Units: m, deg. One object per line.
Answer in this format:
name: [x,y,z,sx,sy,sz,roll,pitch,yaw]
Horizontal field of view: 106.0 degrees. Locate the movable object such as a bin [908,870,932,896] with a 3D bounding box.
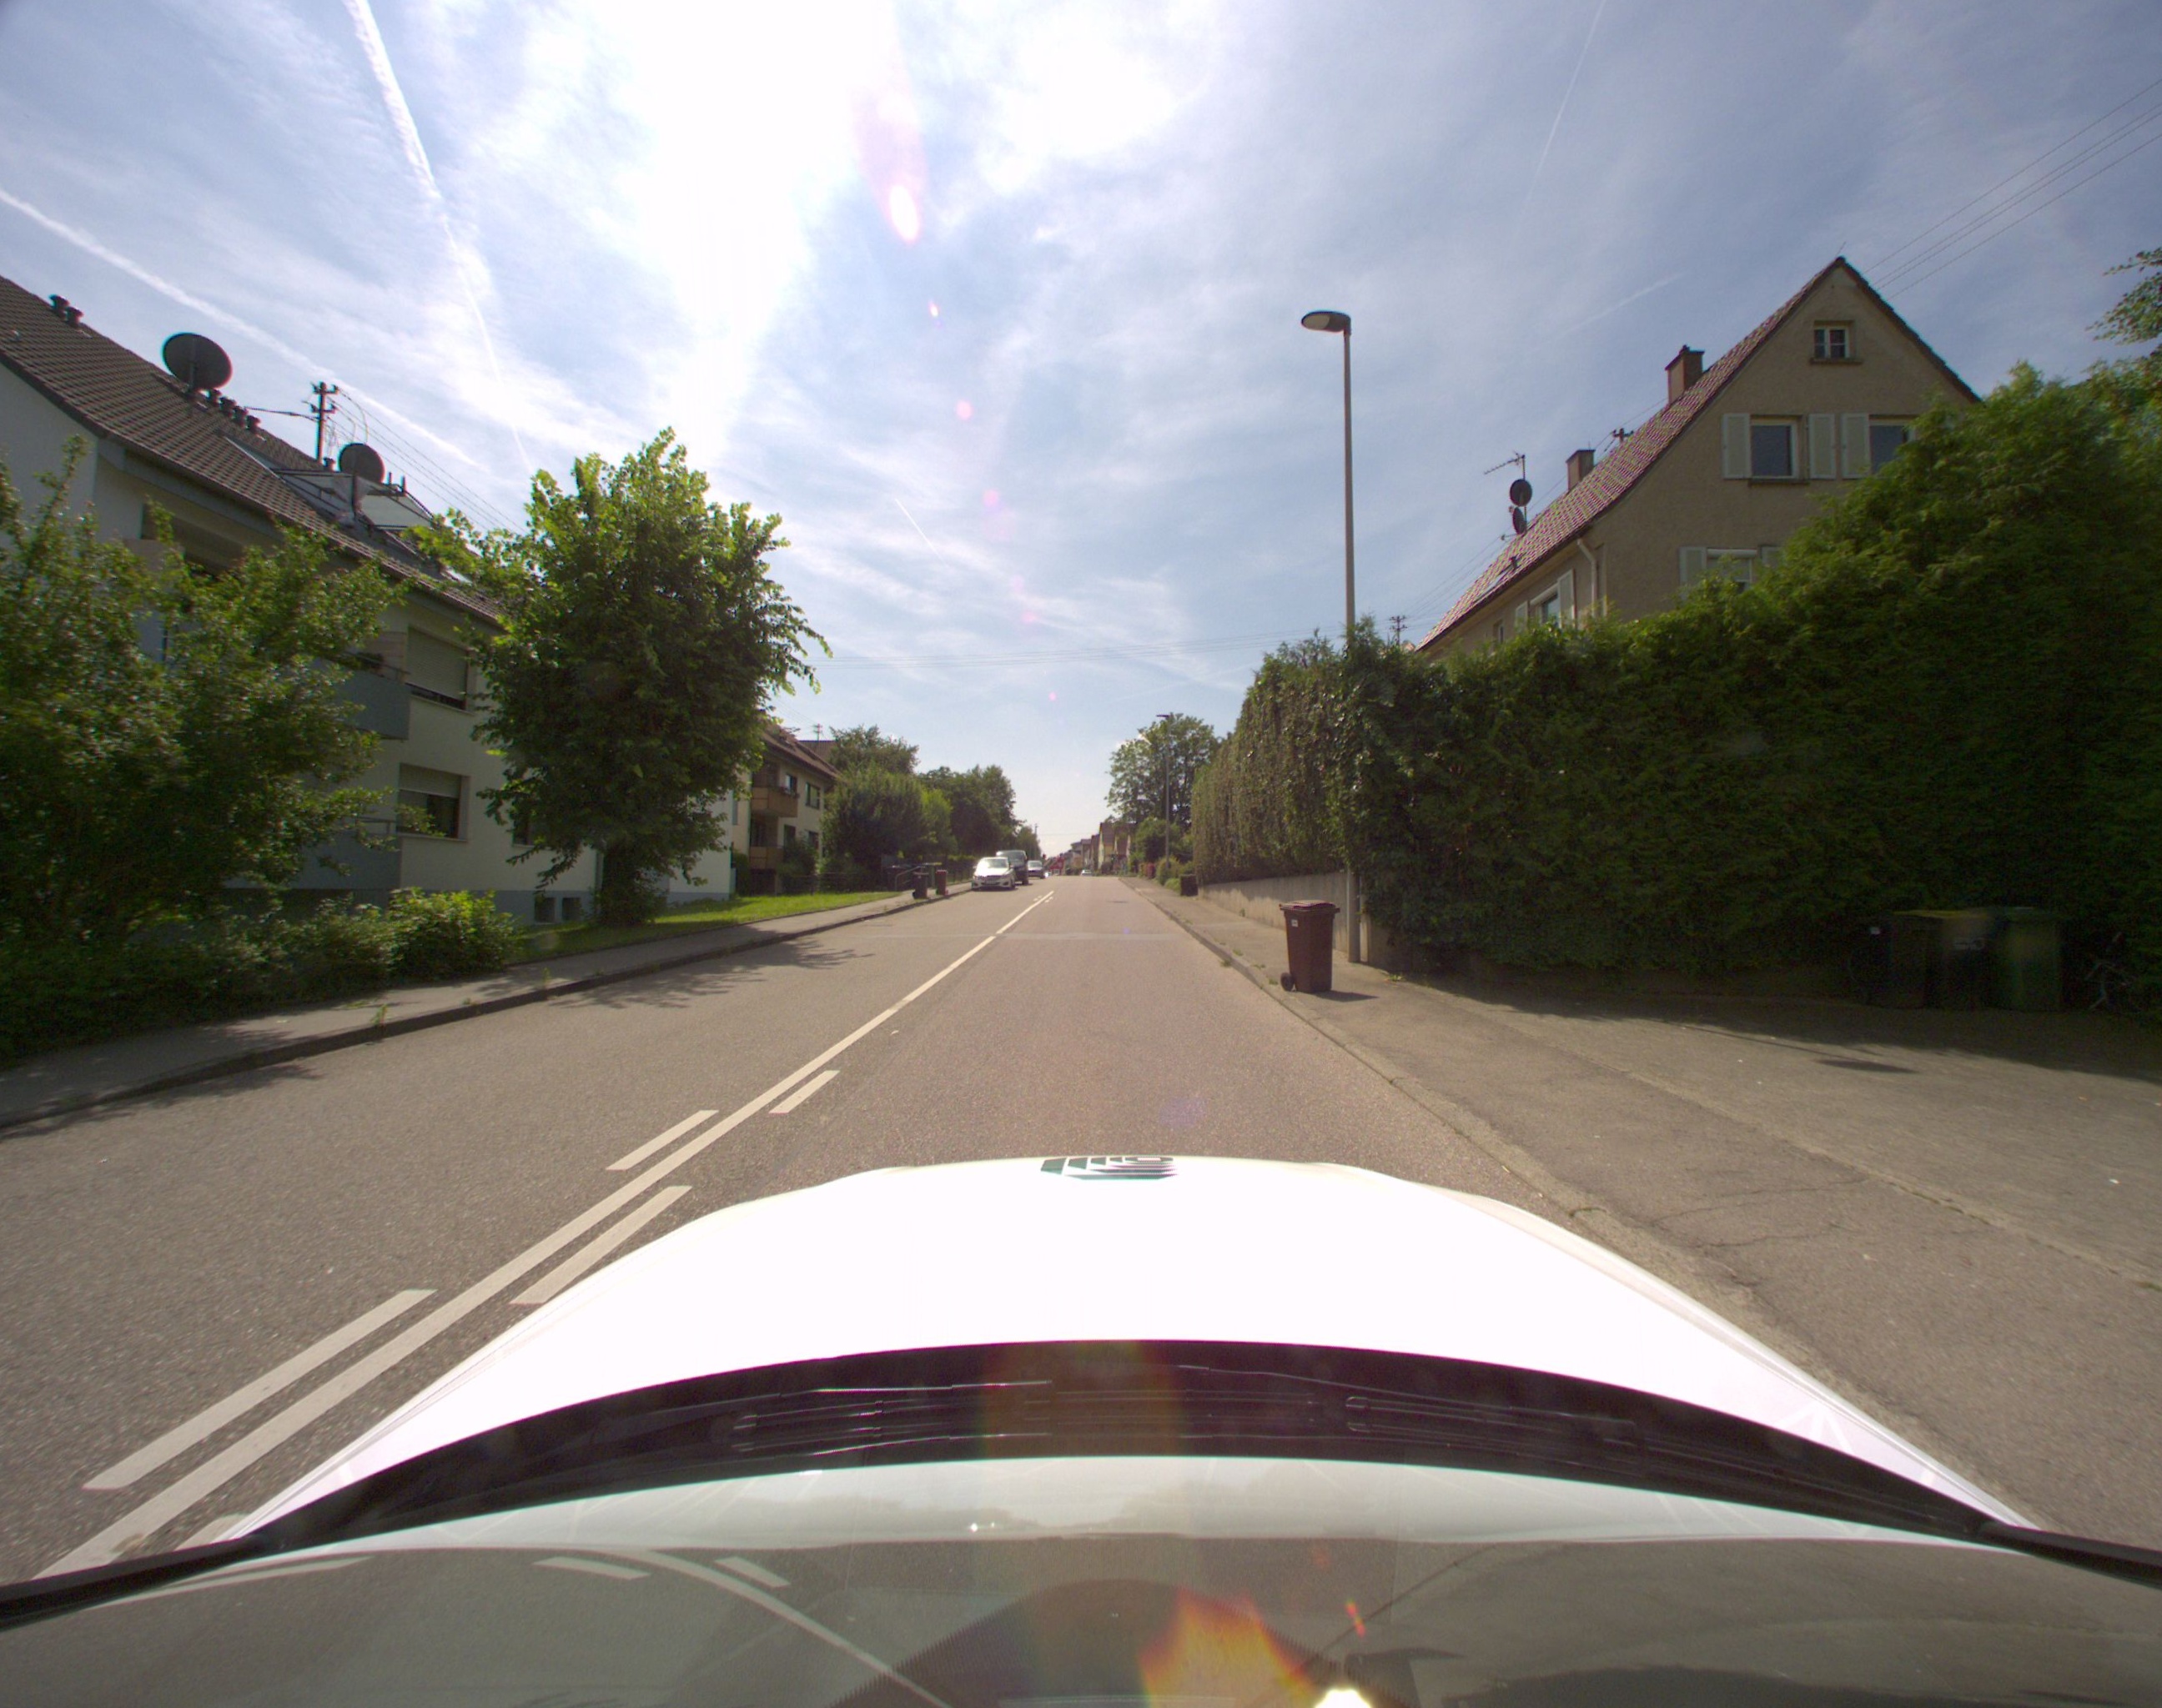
movable object such as a bin: [-5.674,1.012,28.711,0.616,0.917,0.687,0,-1,7]

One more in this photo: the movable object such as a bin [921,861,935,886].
movable object such as a bin: [-6.944,0.873,36.899,0.515,1.104,0.529,0,-1,0]

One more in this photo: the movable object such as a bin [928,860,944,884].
movable object such as a bin: [-6.809,0.856,38.283,0.494,1.105,0.711,-2,-2,7]

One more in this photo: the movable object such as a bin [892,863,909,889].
movable object such as a bin: [-8.064,0.977,36.356,0.544,1.178,0.675,0,-1,6]

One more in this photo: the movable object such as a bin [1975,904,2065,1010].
movable object such as a bin: [9.849,1.068,8.555,0.399,1.051,0.473,1,-1,0]

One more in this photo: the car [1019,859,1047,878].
car: [-3.686,1.149,63.224,1.774,1.394,4.409,-1,-1,1]

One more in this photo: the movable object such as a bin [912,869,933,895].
movable object such as a bin: [-5.805,1.014,29.885,0.560,0.917,0.644,0,-1,7]

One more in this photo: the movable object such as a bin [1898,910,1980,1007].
movable object such as a bin: [9.150,1.103,8.692,0.385,0.973,0.473,1,-1,0]

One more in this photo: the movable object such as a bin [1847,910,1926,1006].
movable object such as a bin: [8.625,1.101,8.731,0.385,0.973,0.473,1,-1,0]

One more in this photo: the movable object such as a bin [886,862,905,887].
movable object such as a bin: [-8.124,0.893,35.629,0.599,1.096,0.651,0,-1,7]

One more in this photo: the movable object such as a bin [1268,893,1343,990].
movable object such as a bin: [2.470,0.948,9.013,0.586,0.978,0.786,-2,-1,0]

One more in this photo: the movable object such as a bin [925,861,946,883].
movable object such as a bin: [-7.097,0.866,39.706,0.897,1.070,0.695,0,-1,0]

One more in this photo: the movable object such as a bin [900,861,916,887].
movable object such as a bin: [-7.884,0.908,37.196,0.474,1.178,0.841,0,-1,6]

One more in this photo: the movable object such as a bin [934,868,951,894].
movable object such as a bin: [-5.332,1.039,31.387,0.503,0.988,0.564,0,-1,7]

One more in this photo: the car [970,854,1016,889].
car: [-4.167,0.800,39.178,1.806,1.549,4.240,0,0,-1]

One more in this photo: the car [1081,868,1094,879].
car: [1.036,3.178,133.558,1.987,1.603,3.999,0,-1,-1]

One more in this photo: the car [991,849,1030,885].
car: [-3.981,0.699,46.478,1.891,1.920,4.867,-1,0,-2]
